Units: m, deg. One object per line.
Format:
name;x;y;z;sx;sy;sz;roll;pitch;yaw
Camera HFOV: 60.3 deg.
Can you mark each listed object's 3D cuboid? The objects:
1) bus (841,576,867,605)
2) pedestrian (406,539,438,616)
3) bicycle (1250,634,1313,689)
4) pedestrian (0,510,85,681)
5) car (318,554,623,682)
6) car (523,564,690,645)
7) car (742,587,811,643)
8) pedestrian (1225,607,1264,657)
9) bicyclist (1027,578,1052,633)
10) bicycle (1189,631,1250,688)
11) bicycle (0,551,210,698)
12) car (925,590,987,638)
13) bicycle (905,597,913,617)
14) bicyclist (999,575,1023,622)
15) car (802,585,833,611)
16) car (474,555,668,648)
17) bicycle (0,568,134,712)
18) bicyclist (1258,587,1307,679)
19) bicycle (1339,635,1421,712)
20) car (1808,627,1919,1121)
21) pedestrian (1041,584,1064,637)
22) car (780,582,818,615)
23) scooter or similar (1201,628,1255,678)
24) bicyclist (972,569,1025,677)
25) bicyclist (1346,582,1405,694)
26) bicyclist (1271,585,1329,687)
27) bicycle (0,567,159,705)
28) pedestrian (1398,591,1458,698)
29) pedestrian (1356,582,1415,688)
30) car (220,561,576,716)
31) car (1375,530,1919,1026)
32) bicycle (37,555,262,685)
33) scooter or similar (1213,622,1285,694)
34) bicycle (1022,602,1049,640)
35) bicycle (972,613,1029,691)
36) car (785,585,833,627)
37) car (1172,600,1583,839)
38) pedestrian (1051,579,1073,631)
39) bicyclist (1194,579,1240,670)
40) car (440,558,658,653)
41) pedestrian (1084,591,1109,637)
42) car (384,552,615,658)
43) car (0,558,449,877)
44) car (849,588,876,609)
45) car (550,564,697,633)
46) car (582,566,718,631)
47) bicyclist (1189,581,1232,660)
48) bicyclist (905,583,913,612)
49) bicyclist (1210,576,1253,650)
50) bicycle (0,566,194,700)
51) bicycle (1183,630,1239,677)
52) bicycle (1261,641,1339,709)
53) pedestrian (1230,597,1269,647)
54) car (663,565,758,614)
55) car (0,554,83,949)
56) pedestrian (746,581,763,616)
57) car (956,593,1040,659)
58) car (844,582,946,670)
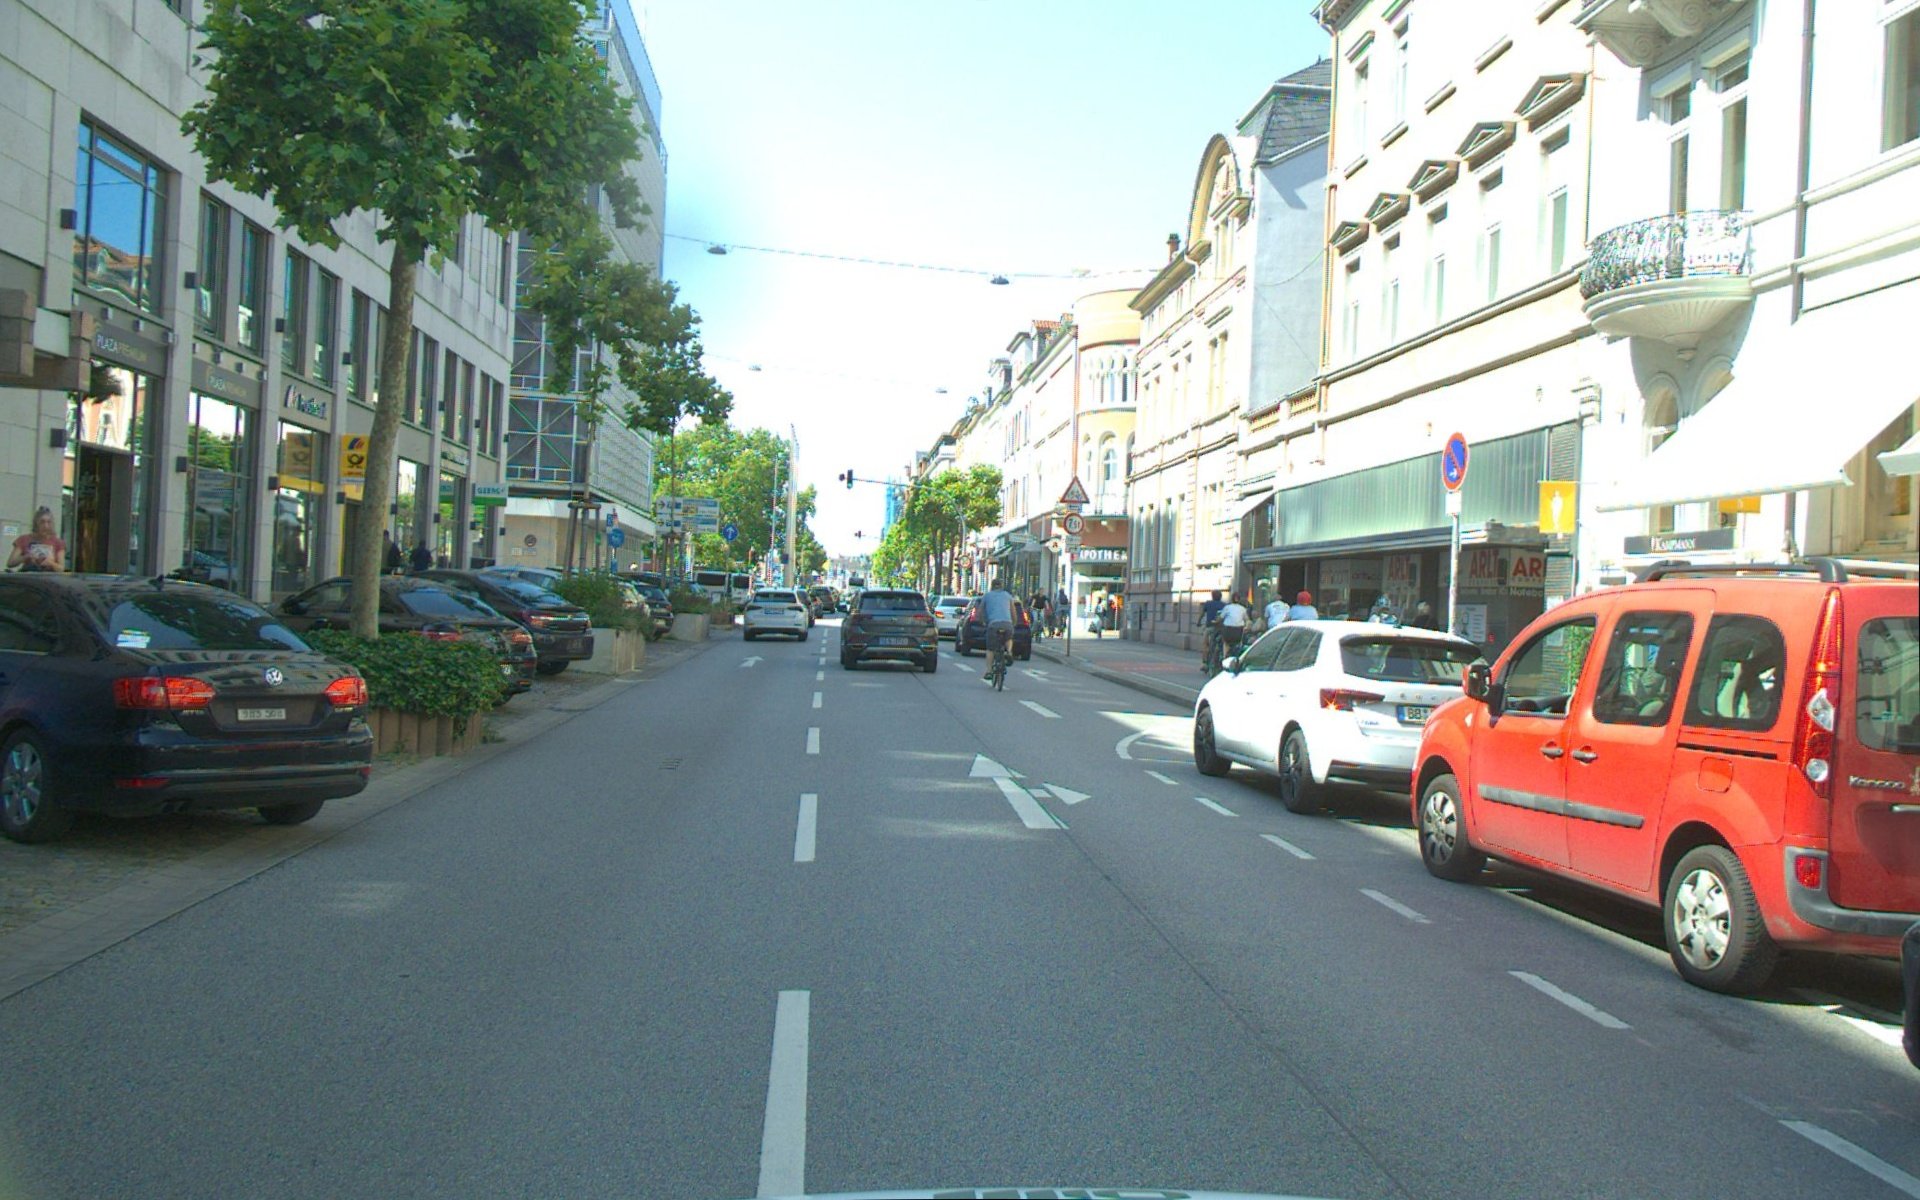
bus;-14.134;-1.313;219.881;2.718;3.668;8.959;2;0;-8
pedestrian;-14.543;-0.606;44.715;0.611;2.049;0.700;2;0;-4
bicycle;5.853;1.110;30.214;0.634;0.895;2.102;2;0;-3
pedestrian;-9.285;-0.044;16.752;0.556;1.686;0.634;2;0;-14
car;-7.466;0.260;25.184;4.257;1.539;1.831;5;0;26
car;-8.836;0.107;41.254;3.919;1.484;1.665;7;0;33
car;-5.175;0.386;46.932;1.827;1.466;3.995;2;0;-6
pedestrian;7.490;0.831;43.555;0.917;1.291;0.567;0;0;1
bicyclist;2.585;0.182;53.598;0.681;1.703;0.834;2;-3;-4
bicycle;4.701;1.069;30.127;0.634;0.895;2.388;2;1;-2
bicycle;-8.719;0.249;16.603;2.029;1.311;0.366;5;-1;-12
car;-0.172;0.447;54.356;1.786;1.409;3.998;2;1;-4
bicycle;-2.950;0.388;95.063;0.411;1.155;1.909;2;0;-3
bicyclist;1.914;-0.059;62.187;0.681;1.702;0.835;5;1;-4
car;-8.273;-0.130;95.850;1.709;1.466;3.996;2;0;-5
car;-8.923;0.041;37.968;3.908;1.595;1.700;7;0;21
bicycle;-8.425;0.302;14.415;2.025;1.150;0.617;5;-1;-4
bicyclist;5.879;0.593;30.200;0.644;1.623;0.920;2;0;-3
bicycle;6.191;1.060;24.484;0.552;1.013;2.102;2;0;-3
car;4.007;0.916;3.098;1.823;1.495;5.221;4;0;-4
pedestrian;3.464;0.398;62.137;0.694;1.932;1.152;2;0;-1
car;-7.671;-0.085;78.968;1.709;1.466;3.996;2;0;-5
scooter or similar;5.397;1.063;33.345;0.836;0.935;1.164;2;0;-3
bicyclist;0.623;0.366;27.211;0.681;1.702;0.915;4;1;-4
bicyclist;6.183;0.554;24.666;0.571;1.623;0.920;2;0;-3
bicyclist;5.130;0.532;24.979;0.612;1.502;0.889;2;0;-3
bicycle;-8.550;0.299;15.172;2.029;1.150;0.462;5;-1;-12
pedestrian;7.770;0.726;27.472;0.634;1.714;0.944;2;0;-4
pedestrian;7.270;0.591;28.302;0.859;1.748;0.836;2;0;8
car;-6.863;0.408;19.970;4.565;1.432;1.897;5;1;39
car;3.921;0.705;8.645;1.793;1.896;4.346;4;0;-8
bicycle;-8.794;0.222;18.051;2.035;1.240;0.755;5;-1;-21
scooter or similar;4.891;0.964;28.086;0.853;1.141;1.620;1;0;-3
bicycle;2.455;0.659;53.800;0.544;1.139;2.241;4;1;-4
bicycle;0.654;0.833;27.244;0.651;1.139;2.241;4;1;-4
car;-5.732;0.210;62.892;1.709;1.466;3.996;2;0;-5
car;3.281;0.862;14.063;1.779;1.491;4.574;4;1;-7
pedestrian;3.678;0.178;59.428;0.639;1.841;0.729;2;0;-4
bicyclist;4.694;0.441;30.246;0.619;1.623;0.920;2;-1;-3
car;-8.530;0.120;34.463;3.904;1.515;1.785;6;0;13
pedestrian;5.359;0.549;64.913;0.776;1.750;0.728;1;0;-9
car;-8.708;0.093;31.576;3.915;1.526;1.714;6;-1;-9
car;-5.504;0.541;10.411;4.702;1.447;1.876;4;1;36
car;-7.135;-0.118;120.586;1.827;1.466;3.996;2;0;-5
car;-9.762;-0.045;48.246;3.912;1.526;1.715;6;-1;-7
car;-9.640;-0.054;51.696;3.912;1.571;1.715;6;-1;-7
bicyclist;5.305;0.423;35.077;0.695;1.623;0.963;2;0;-3
bicyclist;-2.928;-0.148;94.990;0.411;1.658;0.708;2;0;-3
bicyclist;4.801;0.224;29.282;0.611;1.270;0.607;2;0;-3
bicycle;-8.570;0.304;15.926;2.029;1.150;0.462;5;-1;-12
bicycle;5.300;1.114;35.033;0.725;0.895;2.136;2;0;-3
bicycle;5.112;1.110;25.007;0.634;0.895;2.102;2;0;-3
pedestrian;7.488;0.566;42.742;0.917;1.291;0.567;0;0;1
car;-12.820;-0.535;84.959;4.632;2.038;1.934;6;-1;36
car;-6.055;0.472;7.414;4.666;1.560;1.981;4;0;38
pedestrian;-9.751;-0.073;78.524;0.607;1.643;0.544;3;-2;-34
car;0.927;0.641;42.115;1.786;1.433;3.184;5;1;-4
car;-1.323;0.471;32.246;1.797;1.554;3.996;2;0;-4
